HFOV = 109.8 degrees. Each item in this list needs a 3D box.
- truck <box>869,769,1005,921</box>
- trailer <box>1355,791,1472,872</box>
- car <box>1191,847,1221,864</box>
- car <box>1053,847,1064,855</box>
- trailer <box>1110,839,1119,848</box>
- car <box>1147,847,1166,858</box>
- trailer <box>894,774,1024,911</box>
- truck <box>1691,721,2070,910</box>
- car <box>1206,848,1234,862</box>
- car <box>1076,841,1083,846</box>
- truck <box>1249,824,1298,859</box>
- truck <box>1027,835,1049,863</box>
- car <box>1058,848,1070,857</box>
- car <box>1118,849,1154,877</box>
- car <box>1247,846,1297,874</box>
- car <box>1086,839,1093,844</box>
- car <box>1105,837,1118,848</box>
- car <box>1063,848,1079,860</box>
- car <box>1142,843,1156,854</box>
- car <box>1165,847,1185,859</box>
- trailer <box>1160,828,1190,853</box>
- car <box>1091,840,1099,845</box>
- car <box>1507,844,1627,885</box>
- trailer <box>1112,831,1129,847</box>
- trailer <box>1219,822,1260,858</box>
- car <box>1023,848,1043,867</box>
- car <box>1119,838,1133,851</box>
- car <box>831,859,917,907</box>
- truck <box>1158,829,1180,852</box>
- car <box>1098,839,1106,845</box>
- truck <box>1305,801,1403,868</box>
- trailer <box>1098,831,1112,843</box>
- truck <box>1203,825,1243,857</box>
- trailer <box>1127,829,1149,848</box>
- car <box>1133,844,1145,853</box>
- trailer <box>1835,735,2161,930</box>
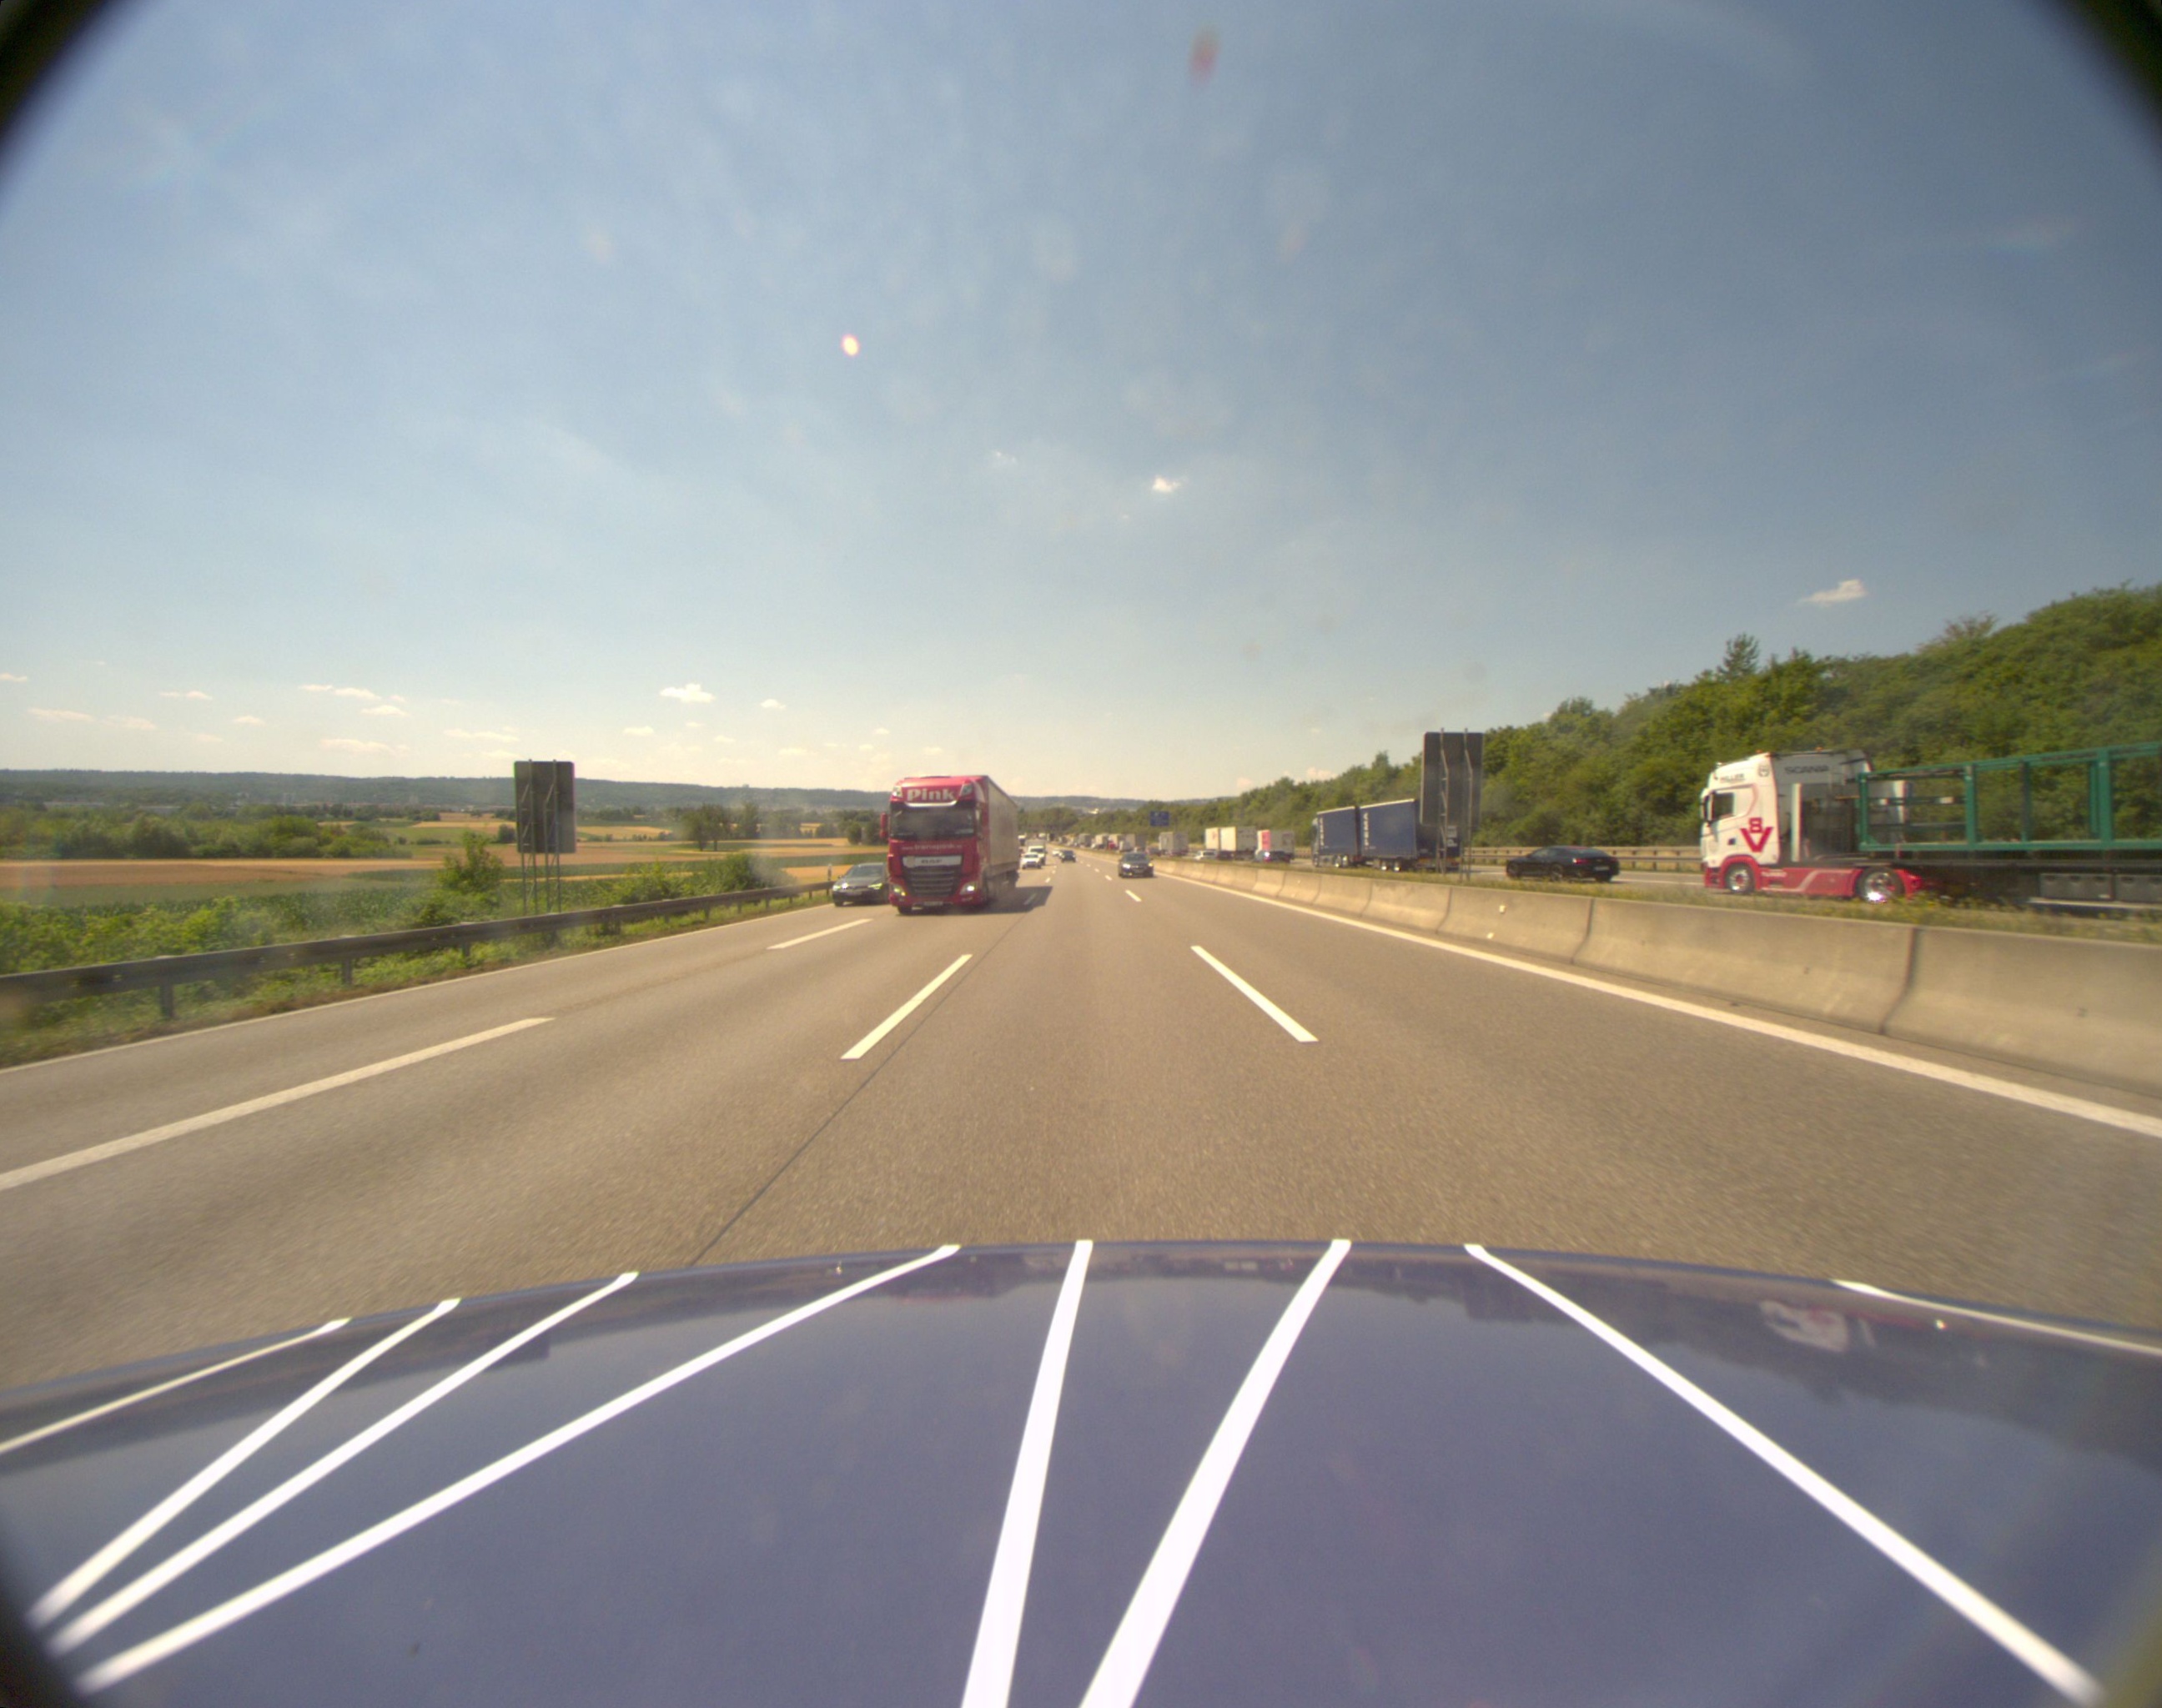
[{"bbox_3d":[-4.183,-0.308,23.680,2.924,3.986,6.509,-2,1,-1],"label":"truck"},{"bbox_3d":[19.042,-1.229,44.200,2.993,4.168,8.593,-1,1,0],"label":"trailer"},{"bbox_3d":[11.373,0.112,69.437,1.842,1.278,4.872,-2,3,-1],"label":"car"},{"bbox_3d":[-4.617,-0.684,154.386,1.999,1.467,3.997,-2,3,-3],"label":"car"},{"bbox_3d":[8.556,-2.577,193.868,1.574,2.240,3.959,-1,1,-6],"label":"trailer"},{"bbox_3d":[10.594,-0.215,106.620,1.999,1.518,4.771,-2,1,-1],"label":"car"},{"bbox_3d":[-4.238,-0.487,30.180,2.926,4.094,13.853,-2,1,-1],"label":"trailer"},{"bbox_3d":[19.159,-0.823,18.929,2.908,3.854,6.177,-2,1,0],"label":"truck"},{"bbox_3d":[14.802,0.085,81.154,1.999,1.447,5.169,-1,1,-1],"label":"car"},{"bbox_3d":[-0.570,-3.528,249.399,1.937,1.679,4.793,-1,1,-5],"label":"car"},{"bbox_3d":[18.564,-1.207,73.853,2.545,3.189,7.586,-2,1,-2],"label":"truck"},{"bbox_3d":[-5.141,-0.626,90.453,2.446,3.011,6.911,-2,2,-4],"label":"truck"},{"bbox_3d":[-2.921,-0.265,130.080,1.866,1.322,3.997,-1,2,-3],"label":"car"},{"bbox_3d":[3.198,0.520,45.033,1.807,1.534,4.750,-1,0,1],"label":"car"},{"bbox_3d":[11.818,0.347,47.296,1.842,1.574,4.553,-2,0,-1],"label":"car"},{"bbox_3d":[2.774,-4.065,251.737,1.882,1.426,4.920,-2,2,-5],"label":"car"},{"bbox_3d":[7.951,-3.018,198.974,2.243,2.997,6.546,-1,1,-6],"label":"car"},{"bbox_3d":[-1.354,-0.066,100.485,1.866,1.426,3.997,-1,2,-4],"label":"car"},{"bbox_3d":[12.177,-0.974,136.171,1.866,1.632,5.110,-1,3,-3],"label":"car"},{"bbox_3d":[13.654,-0.159,110.984,1.999,1.536,5.492,-1,1,-2],"label":"car"},{"bbox_3d":[16.438,-2.373,133.840,2.910,4.063,14.438,-1,1,-2],"label":"trailer"},{"bbox_3d":[4.138,-3.471,230.324,1.886,1.466,4.402,-2,2,-5],"label":"car"},{"bbox_3d":[18.724,0.352,29.552,1.661,1.423,4.647,-1,1,-1],"label":"car"},{"bbox_3d":[10.872,-4.112,209.943,2.819,4.254,13.858,-2,2,-5],"label":"trailer"},{"bbox_3d":[18.628,-1.593,89.822,2.928,4.048,8.227,0,1,-1],"label":"trailer"},{"bbox_3d":[-4.747,0.347,75.048,1.837,1.636,4.169,-2,2,-5],"label":"car"},{"bbox_3d":[10.060,-2.181,170.948,2.145,2.771,6.619,-2,3,-4],"label":"car"},{"bbox_3d":[-7.371,0.993,27.442,2.037,1.543,3.999,-1,0,-1],"label":"car"},{"bbox_3d":[16.141,-2.476,140.113,2.861,4.014,6.600,-1,1,-3],"label":"truck"},{"bbox_3d":[6.086,-3.570,219.938,1.999,1.706,4.788,-2,2,-5],"label":"car"},{"bbox_3d":[19.028,-1.286,53.934,3.009,4.209,10.731,-1,1,0],"label":"truck"},{"bbox_3d":[7.689,-5.565,244.040,2.912,3.851,13.865,-2,2,-5],"label":"trailer"},{"bbox_3d":[18.390,-1.663,99.051,2.850,3.876,11.243,0,1,-2],"label":"truck"},{"bbox_3d":[13.439,-3.729,180.261,2.990,4.183,14.183,-2,2,-4],"label":"trailer"},{"bbox_3d":[11.454,-1.128,150.602,1.756,1.452,4.855,-2,3,-3],"label":"car"},{"bbox_3d":[19.145,-0.389,11.439,2.865,3.187,12.781,-2,0,0],"label":"trailer"}]
